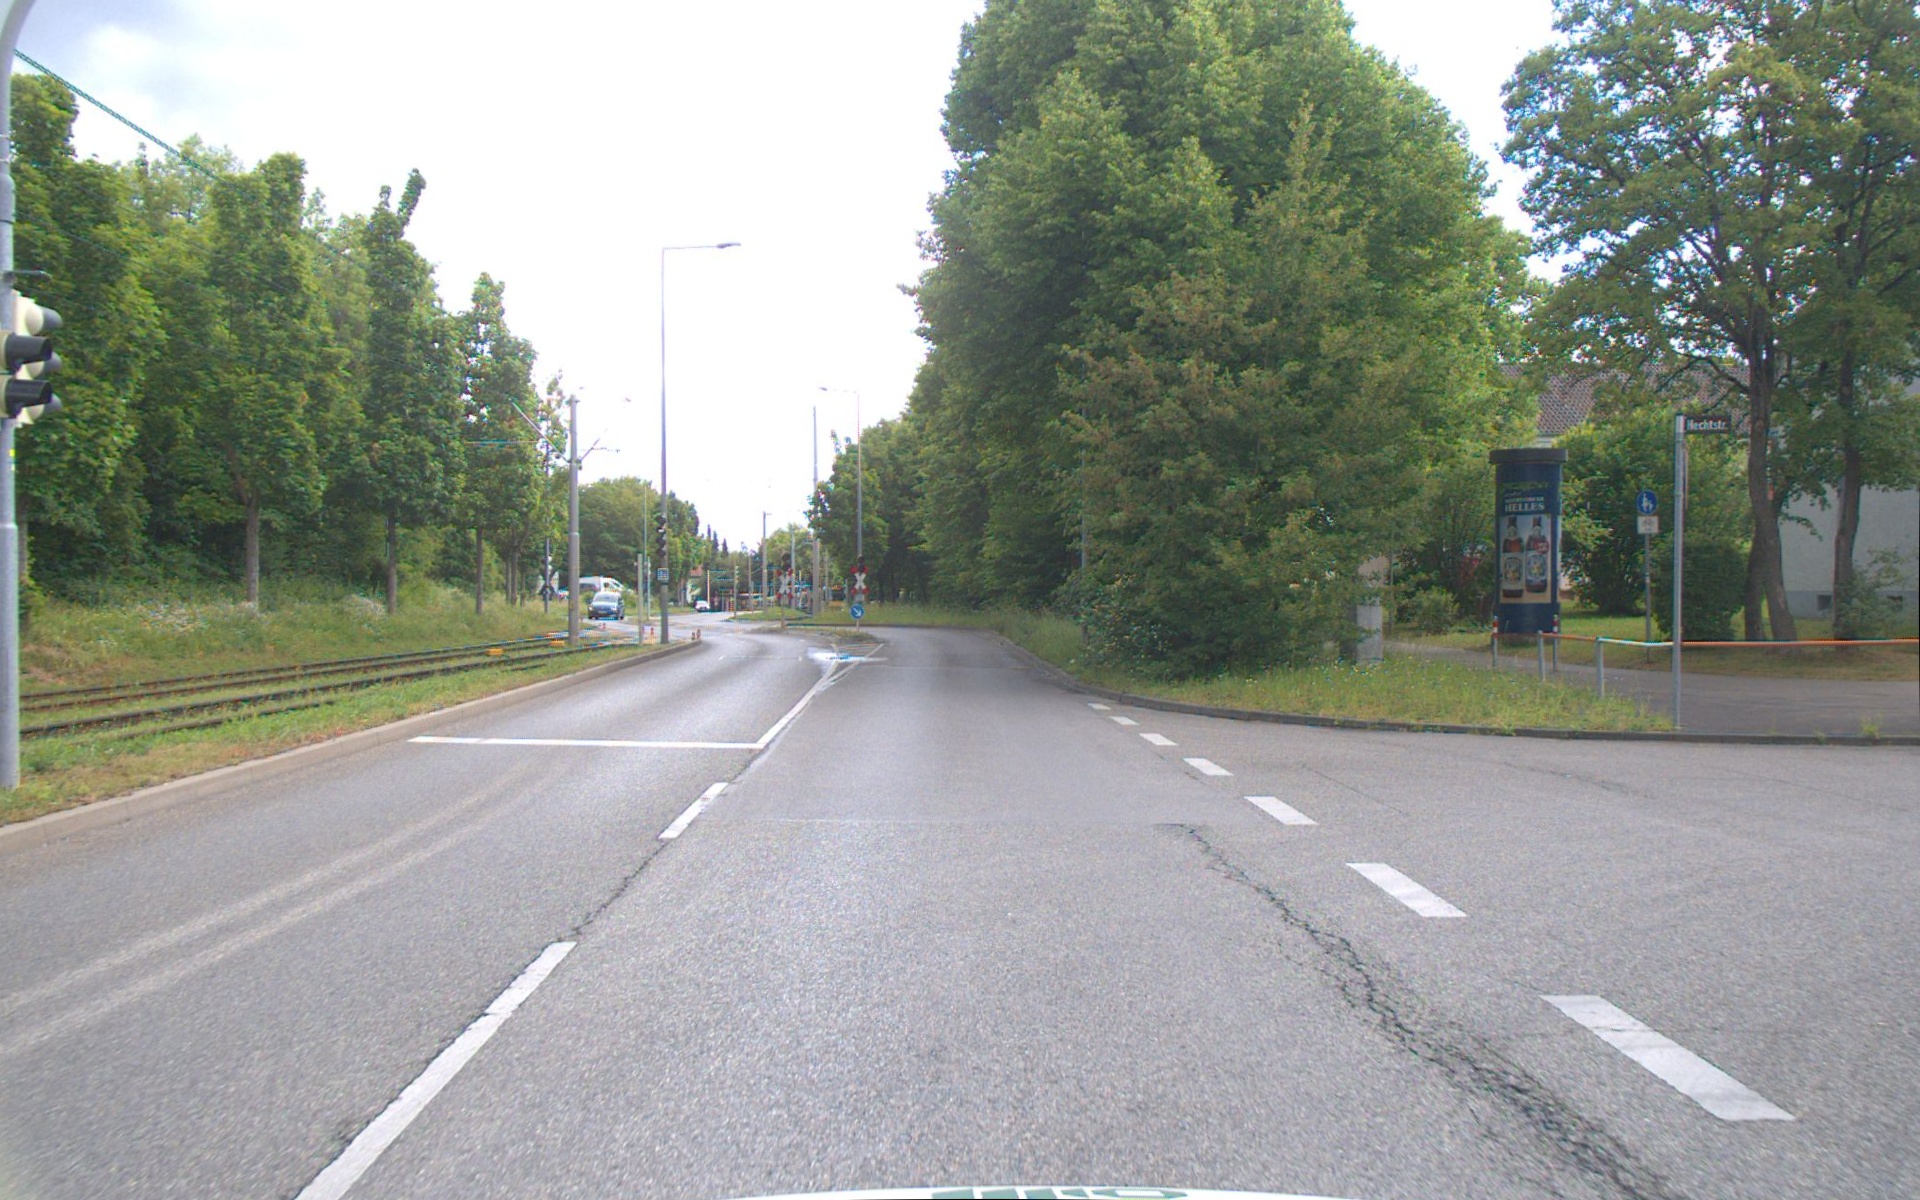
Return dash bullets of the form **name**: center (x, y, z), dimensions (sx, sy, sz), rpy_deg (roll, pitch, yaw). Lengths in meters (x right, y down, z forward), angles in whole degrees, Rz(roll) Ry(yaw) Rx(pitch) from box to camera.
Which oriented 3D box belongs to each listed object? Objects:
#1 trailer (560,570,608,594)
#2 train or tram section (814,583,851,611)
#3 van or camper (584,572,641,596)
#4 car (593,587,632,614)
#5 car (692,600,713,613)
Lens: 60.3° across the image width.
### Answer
- **trailer**: center (-33.784, -1.612, 148.657), dimensions (3.907, 2.049, 1.907), rpy_deg (0, 0, -2)
- **train or tram section**: center (-17.468, -0.460, 223.928), dimensions (2.951, 3.368, 34.649), rpy_deg (1, 0, -8)
- **van or camper**: center (-34.238, -1.557, 163.088), dimensions (5.229, 2.241, 1.998), rpy_deg (1, 0, -6)
- **car**: center (-20.836, 0.024, 99.325), dimensions (1.831, 1.547, 4.234), rpy_deg (1, 1, -6)
- **car**: center (-31.993, 0.781, 205.594), dimensions (1.953, 1.463, 4.425), rpy_deg (-2, 1, -1)
